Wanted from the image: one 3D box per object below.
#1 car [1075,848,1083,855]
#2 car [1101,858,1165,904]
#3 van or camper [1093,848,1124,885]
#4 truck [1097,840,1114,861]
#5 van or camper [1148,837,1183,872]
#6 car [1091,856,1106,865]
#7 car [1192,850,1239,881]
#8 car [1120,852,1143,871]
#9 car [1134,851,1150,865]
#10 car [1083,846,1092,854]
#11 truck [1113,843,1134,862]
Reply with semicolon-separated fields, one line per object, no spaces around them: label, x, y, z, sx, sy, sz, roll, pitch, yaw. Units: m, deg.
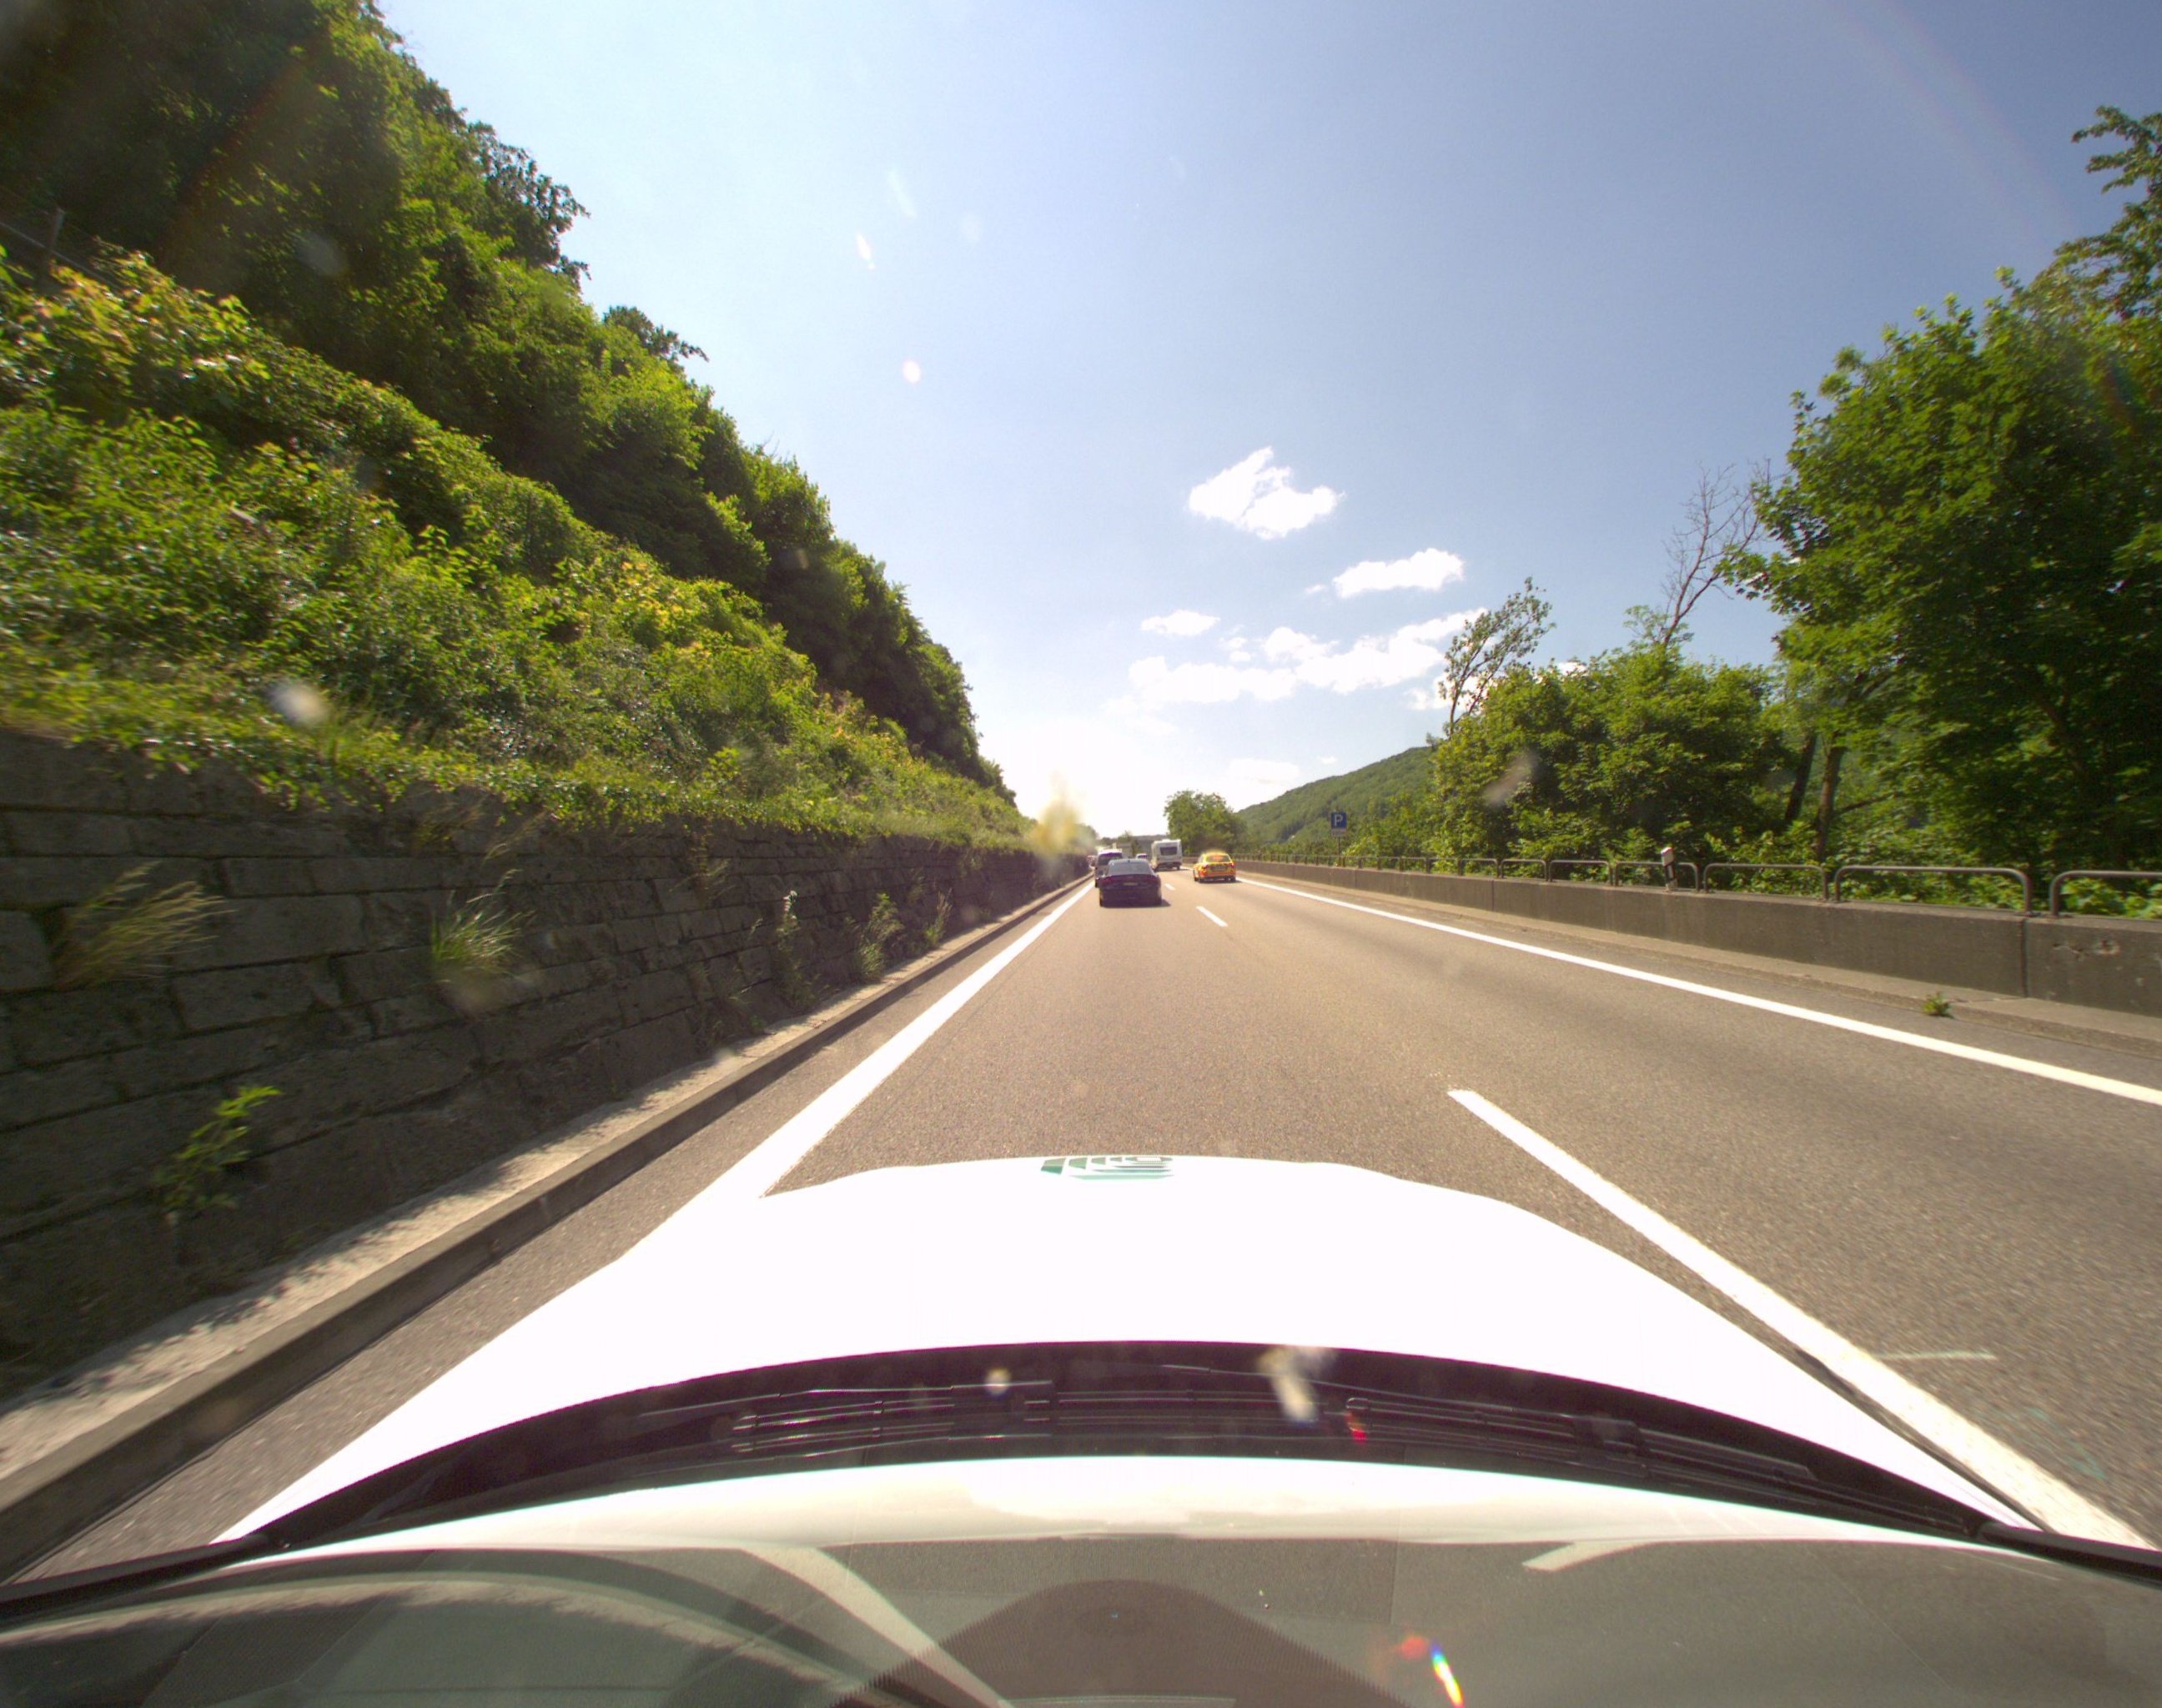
car;-0.489;-0.687;245.178;1.991;2.013;3.991;-1;0;-6
car;1.585;0.819;25.669;1.830;1.349;4.001;0;-1;2
van or camper;1.388;0.658;42.301;1.388;1.816;3.997;0;-1;-2
truck;5.023;-0.737;166.277;2.727;4.096;7.469;-1;0;-4
van or camper;7.415;0.072;72.049;2.447;2.918;6.125;0;-1;0
car;2.759;1.002;130.294;1.989;1.464;3.995;0;0;-4
car;6.742;0.608;41.178;1.856;1.488;4.001;0;-1;2
car;4.512;0.725;73.577;1.768;1.637;3.999;-1;-1;0
car;7.857;0.537;104.976;1.834;1.717;4.002;-1;0;2
car;1.675;-1.041;218.263;1.991;2.013;3.992;0;0;-6
truck;7.024;-0.243;135.216;2.832;3.131;7.476;-1;0;-1
